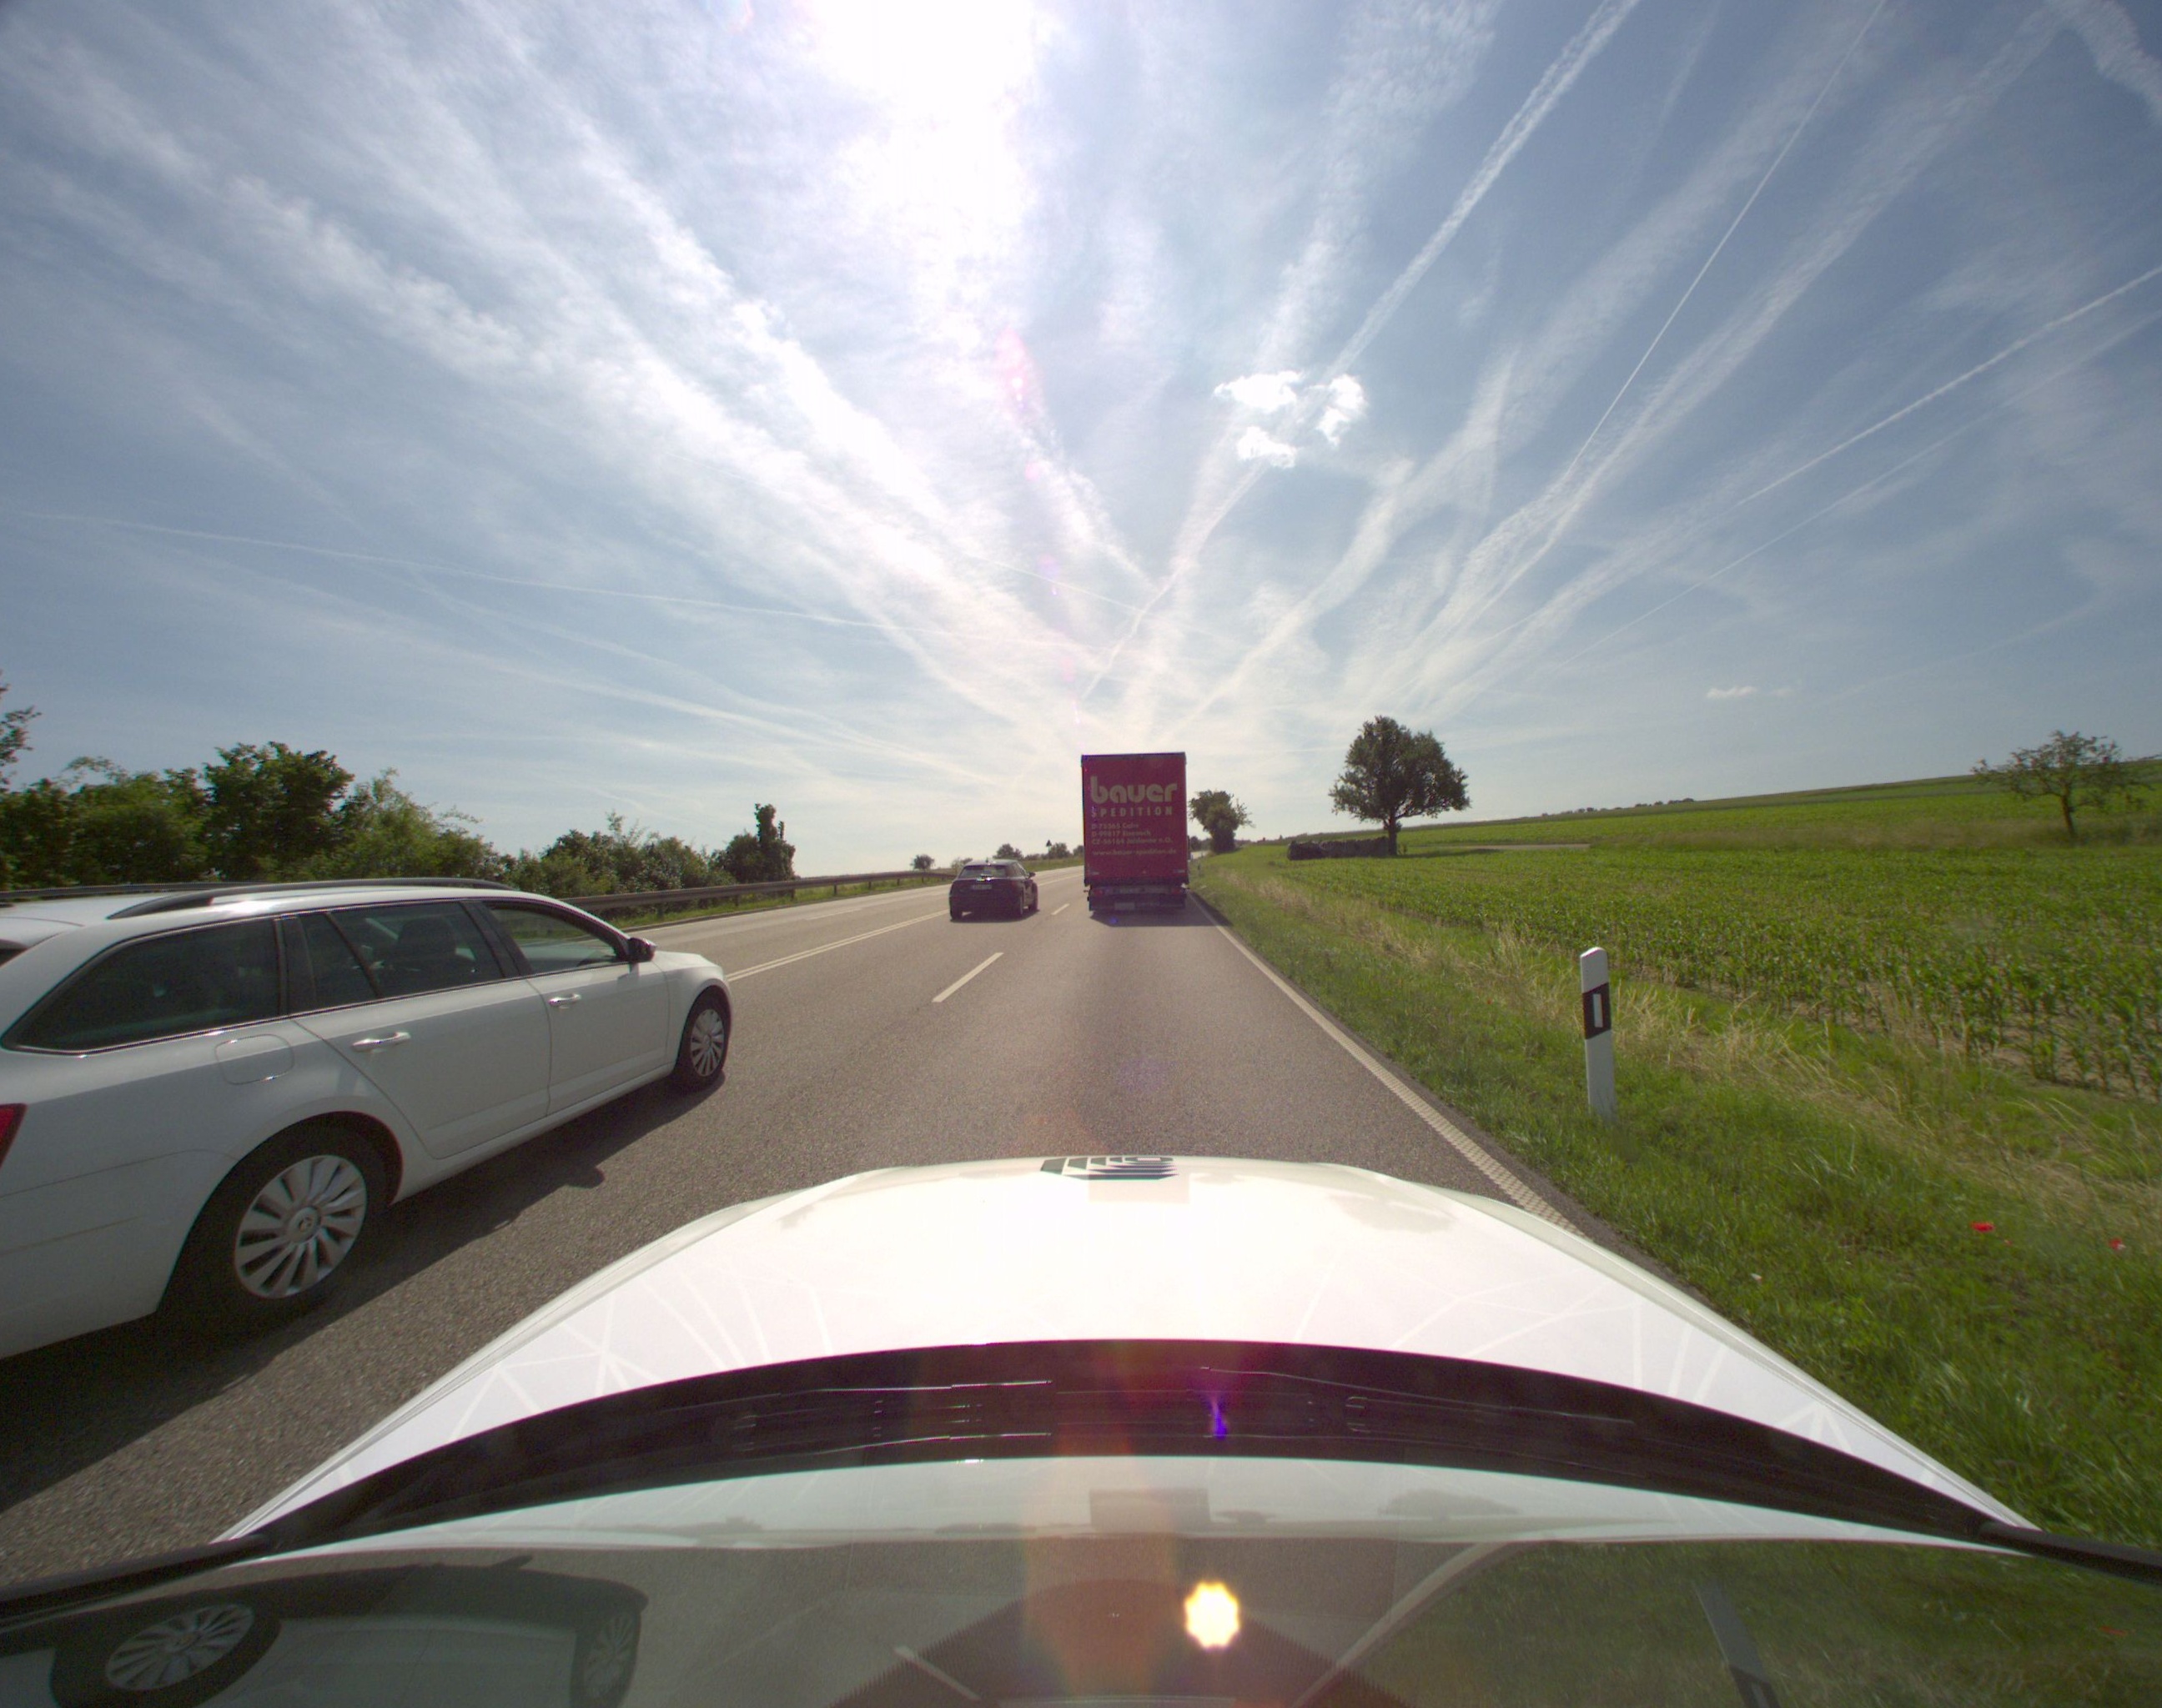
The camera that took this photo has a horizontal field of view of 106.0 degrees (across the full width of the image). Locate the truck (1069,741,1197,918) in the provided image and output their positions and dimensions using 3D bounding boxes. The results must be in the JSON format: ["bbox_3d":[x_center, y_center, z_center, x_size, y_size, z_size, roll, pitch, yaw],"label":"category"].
[{"bbox_3d":[1.755,-0.582,27.769,2.994,4.180,16.730,-1,0,4],"label":"truck"}]

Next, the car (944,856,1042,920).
[{"bbox_3d":[-2.167,0.804,21.455,1.697,1.472,4.816,-1,0,4],"label":"car"}]

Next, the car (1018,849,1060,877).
[{"bbox_3d":[-2.891,0.612,57.429,1.895,1.884,5.444,-1,0,8],"label":"car"}]

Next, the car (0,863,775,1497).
[{"bbox_3d":[-3.449,0.829,4.106,1.814,1.472,4.791,-1,0,2],"label":"car"}]

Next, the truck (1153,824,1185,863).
[{"bbox_3d":[10.276,-1.130,93.525,3.030,3.910,15.651,-2,0,8],"label":"truck"}]

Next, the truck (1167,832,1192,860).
[{"bbox_3d":[15.510,-1.221,127.008,3.029,3.910,18.445,-2,0,9],"label":"truck"}]
